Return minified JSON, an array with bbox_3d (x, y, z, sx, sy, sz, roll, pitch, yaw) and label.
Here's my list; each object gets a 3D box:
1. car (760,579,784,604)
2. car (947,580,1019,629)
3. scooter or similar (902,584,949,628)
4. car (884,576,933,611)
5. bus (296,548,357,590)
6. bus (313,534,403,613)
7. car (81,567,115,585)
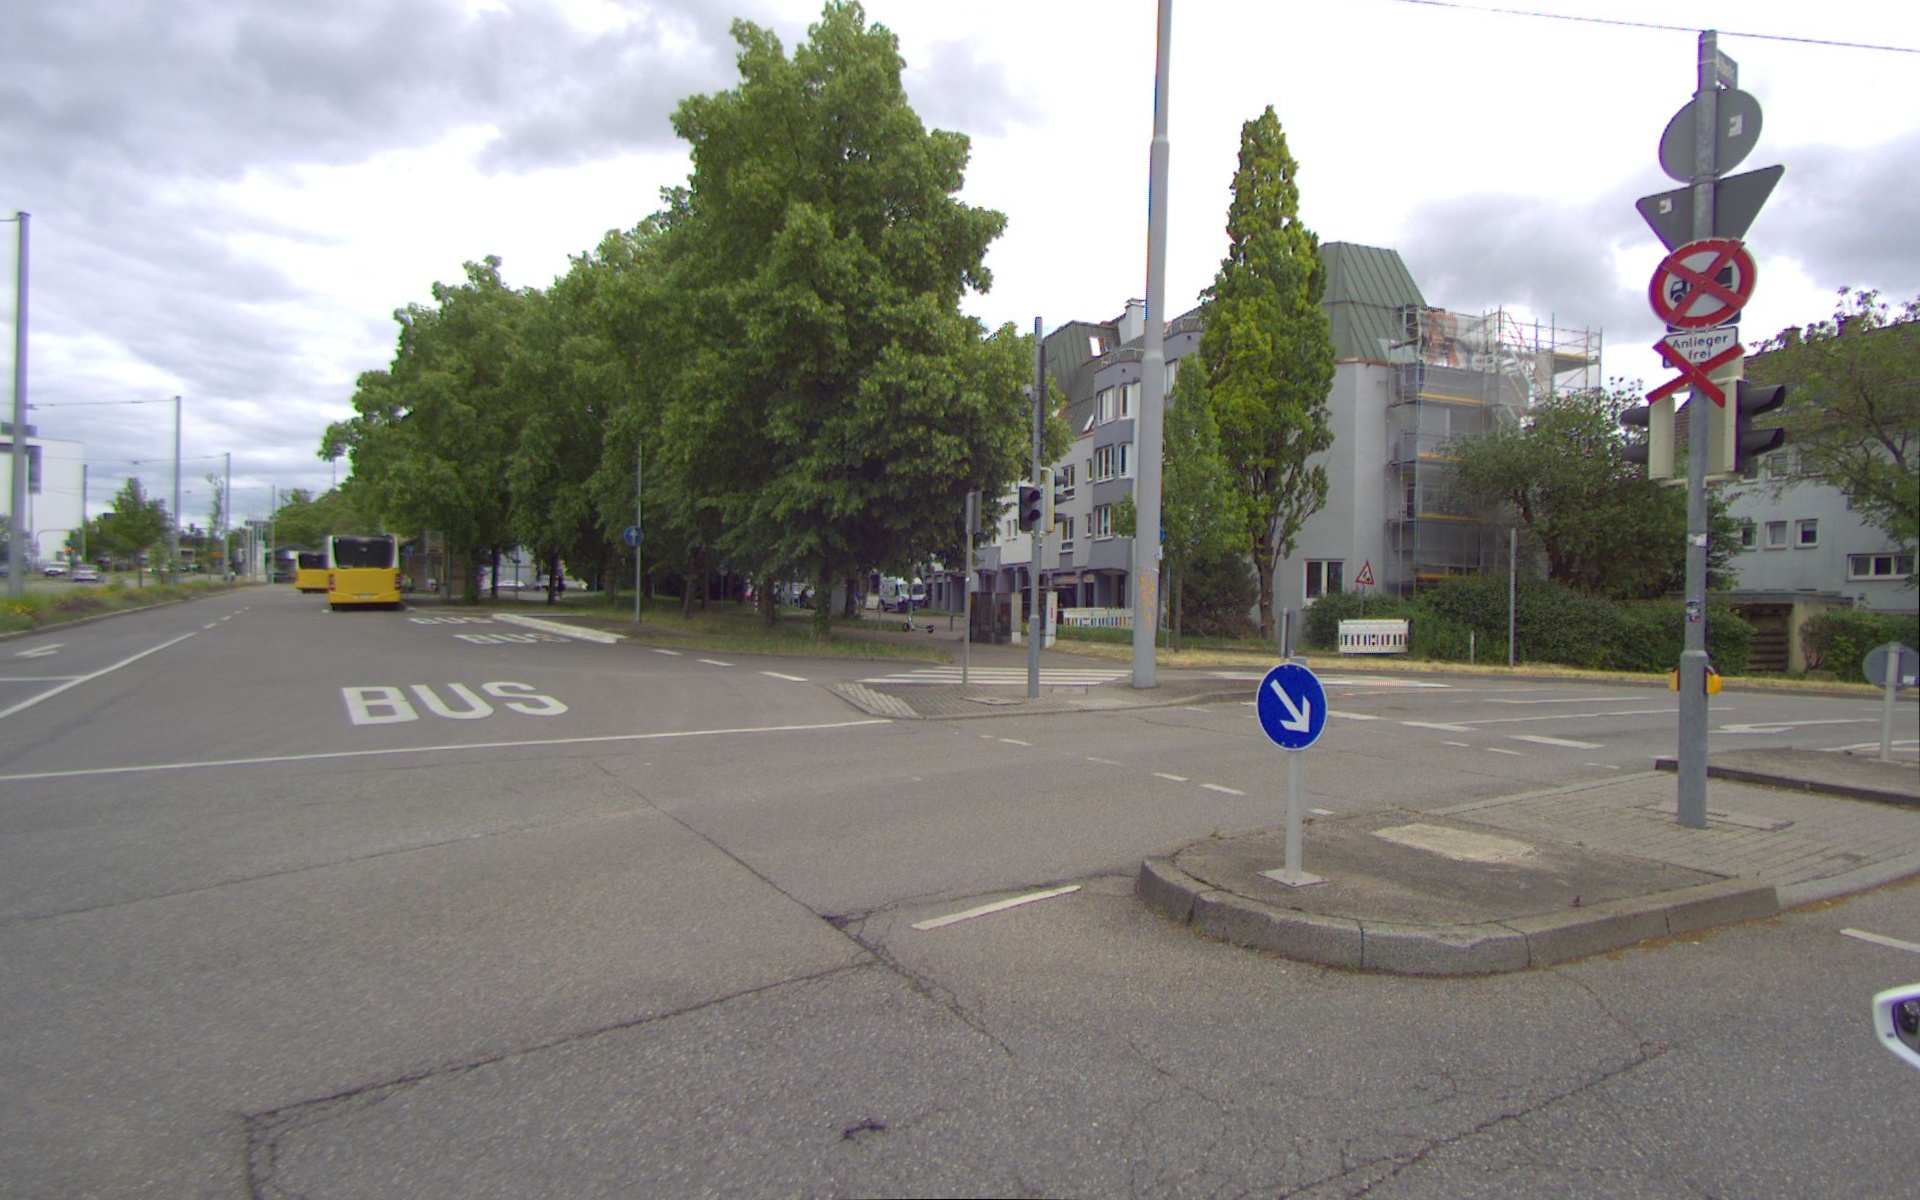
[{"bbox_3d":[-16.518,-0.769,88.140,1.965,1.965,4.580,1,2,-12],"label":"car"},{"bbox_3d":[0.799,0.156,37.729,1.620,1.691,3.938,3,0,-15],"label":"car"},{"bbox_3d":[-1.220,0.202,35.623,1.562,1.465,0.555,2,2,25],"label":"scooter or similar"},{"bbox_3d":[-3.705,-0.507,71.005,2.280,2.284,5.474,1,2,-15],"label":"car"},{"bbox_3d":[-49.769,-2.435,79.162,3.255,3.049,10.155,0,2,-28],"label":"bus"},{"bbox_3d":[-25.708,-1.138,43.098,3.018,3.049,8.360,0,2,-30],"label":"bus"},{"bbox_3d":[-81.038,-2.257,94.433,1.729,1.549,3.720,0,2,-29],"label":"car"}]
